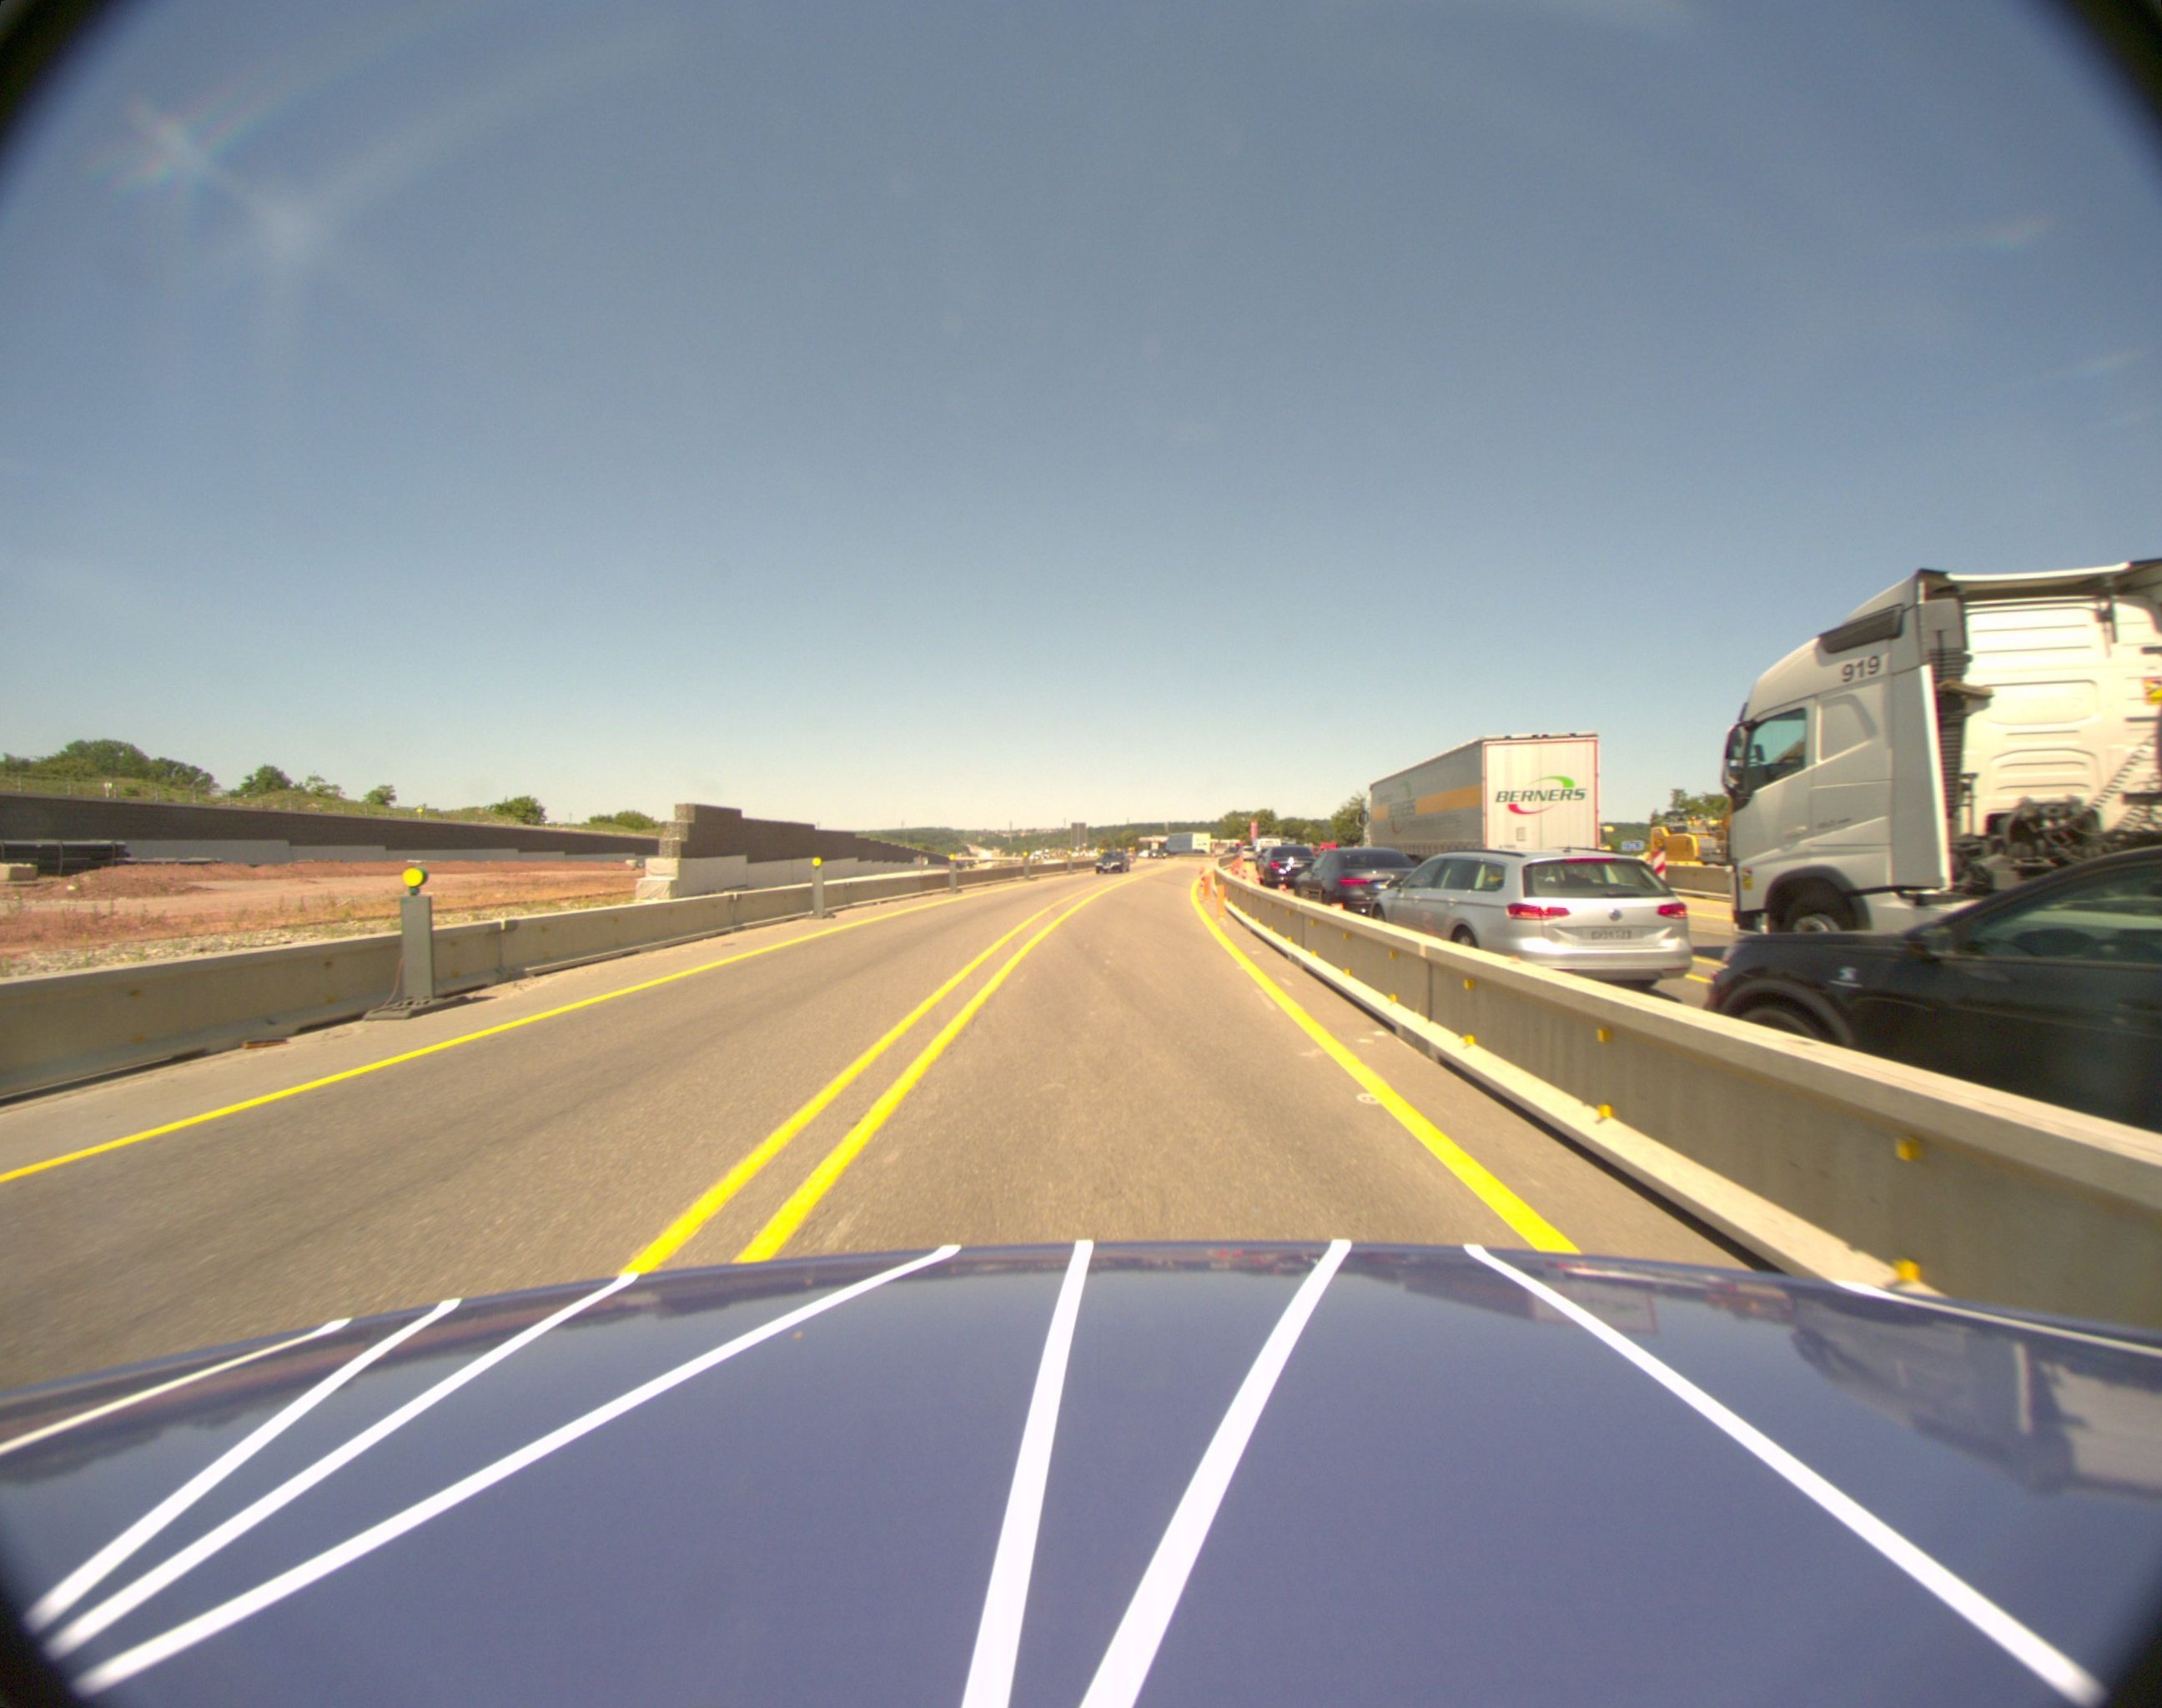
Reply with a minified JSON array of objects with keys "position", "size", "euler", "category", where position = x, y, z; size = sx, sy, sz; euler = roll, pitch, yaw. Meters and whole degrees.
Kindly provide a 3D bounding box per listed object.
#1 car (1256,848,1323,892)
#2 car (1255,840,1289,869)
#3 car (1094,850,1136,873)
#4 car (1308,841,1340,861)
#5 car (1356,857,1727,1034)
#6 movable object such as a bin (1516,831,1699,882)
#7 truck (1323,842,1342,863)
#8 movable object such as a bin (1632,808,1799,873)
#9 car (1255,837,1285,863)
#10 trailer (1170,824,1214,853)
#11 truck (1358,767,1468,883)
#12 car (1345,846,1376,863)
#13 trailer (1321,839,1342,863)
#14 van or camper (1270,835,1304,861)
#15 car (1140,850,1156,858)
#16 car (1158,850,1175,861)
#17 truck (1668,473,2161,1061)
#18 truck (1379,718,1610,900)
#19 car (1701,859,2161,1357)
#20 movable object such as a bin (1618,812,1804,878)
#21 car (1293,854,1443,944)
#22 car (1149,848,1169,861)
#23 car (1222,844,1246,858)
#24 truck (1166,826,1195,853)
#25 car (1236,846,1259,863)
[{"position":[7.254,0.518,26.781],"size":[1.729,1.400,4.131],"euler":[-1,0,8],"category":"car"},{"position":[10.976,0.001,43.921],"size":[1.512,1.595,3.955],"euler":[-2,1,9],"category":"car"},{"position":[2.189,0.504,47.999],"size":[1.808,1.299,4.006],"euler":[1,-2,14],"category":"car"},{"position":[19.750,-0.259,61.893],"size":[1.997,1.493,4.658],"euler":[-1,0,11],"category":"car"},{"position":[4.731,0.793,8.734],"size":[1.682,1.436,4.554],"euler":[-1,0,3],"category":"car"},{"position":[28.636,0.175,41.872],"size":[7.909,2.418,3.725],"euler":[-3,0,31],"category":"movable object such as a bin"},{"position":[47.911,-0.247,144.688],"size":[3.153,3.961,6.357],"euler":[2,0,20],"category":"truck"},{"position":[26.295,-0.533,31.883],"size":[3.296,2.426,5.445],"euler":[-1,1,13],"category":"movable object such as a bin"},{"position":[14.337,-0.334,57.913],"size":[1.875,1.862,5.062],"euler":[3,2,11],"category":"car"},{"position":[16.756,-2.198,115.697],"size":[2.923,4.104,13.906],"euler":[1,0,-7],"category":"trailer"},{"position":[13.360,-1.068,31.117],"size":[2.775,4.235,6.204],"euler":[0,0,10],"category":"truck"},{"position":[24.687,0.013,67.252],"size":[1.808,1.385,4.658],"euler":[2,1,11],"category":"car"},{"position":[45.769,-0.441,138.709],"size":[3.153,4.087,14.187],"euler":[2,0,20],"category":"trailer"},{"position":[21.218,-0.599,78.561],"size":[2.103,2.526,6.306],"euler":[1,1,3],"category":"van or camper"},{"position":[11.430,0.028,130.307],"size":[2.022,1.436,4.586],"euler":[0,0,-4],"category":"car"},{"position":[13.155,0.159,116.998],"size":[1.773,1.598,4.707],"euler":[2,0,-5],"category":"car"},{"position":[8.732,-0.593,6.665],"size":[2.705,3.946,6.201],"euler":[0,0,4],"category":"truck"},{"position":[11.996,-1.055,23.744],"size":[2.778,4.253,11.789],"euler":[0,0,10],"category":"truck"},{"position":[4.265,0.822,2.224],"size":[1.682,1.535,4.118],"euler":[-1,0,3],"category":"car"},{"position":[29.233,-0.372,35.618],"size":[6.056,2.747,2.816],"euler":[-2,0,21],"category":"movable object such as a bin"},{"position":[5.333,0.751,14.678],"size":[1.659,1.444,4.250],"euler":[-1,0,6],"category":"car"},{"position":[10.701,0.104,104.401],"size":[1.819,1.652,3.997],"euler":[-2,0,-8],"category":"car"},{"position":[18.946,-0.380,94.162],"size":[1.780,1.754,4.708],"euler":[2,0,-3],"category":"car"},{"position":[15.917,-2.284,121.933],"size":[2.924,4.104,6.134],"euler":[2,0,-7],"category":"truck"},{"position":[16.753,0.010,76.491],"size":[1.760,1.606,4.230],"euler":[-1,0,6],"category":"car"}]
